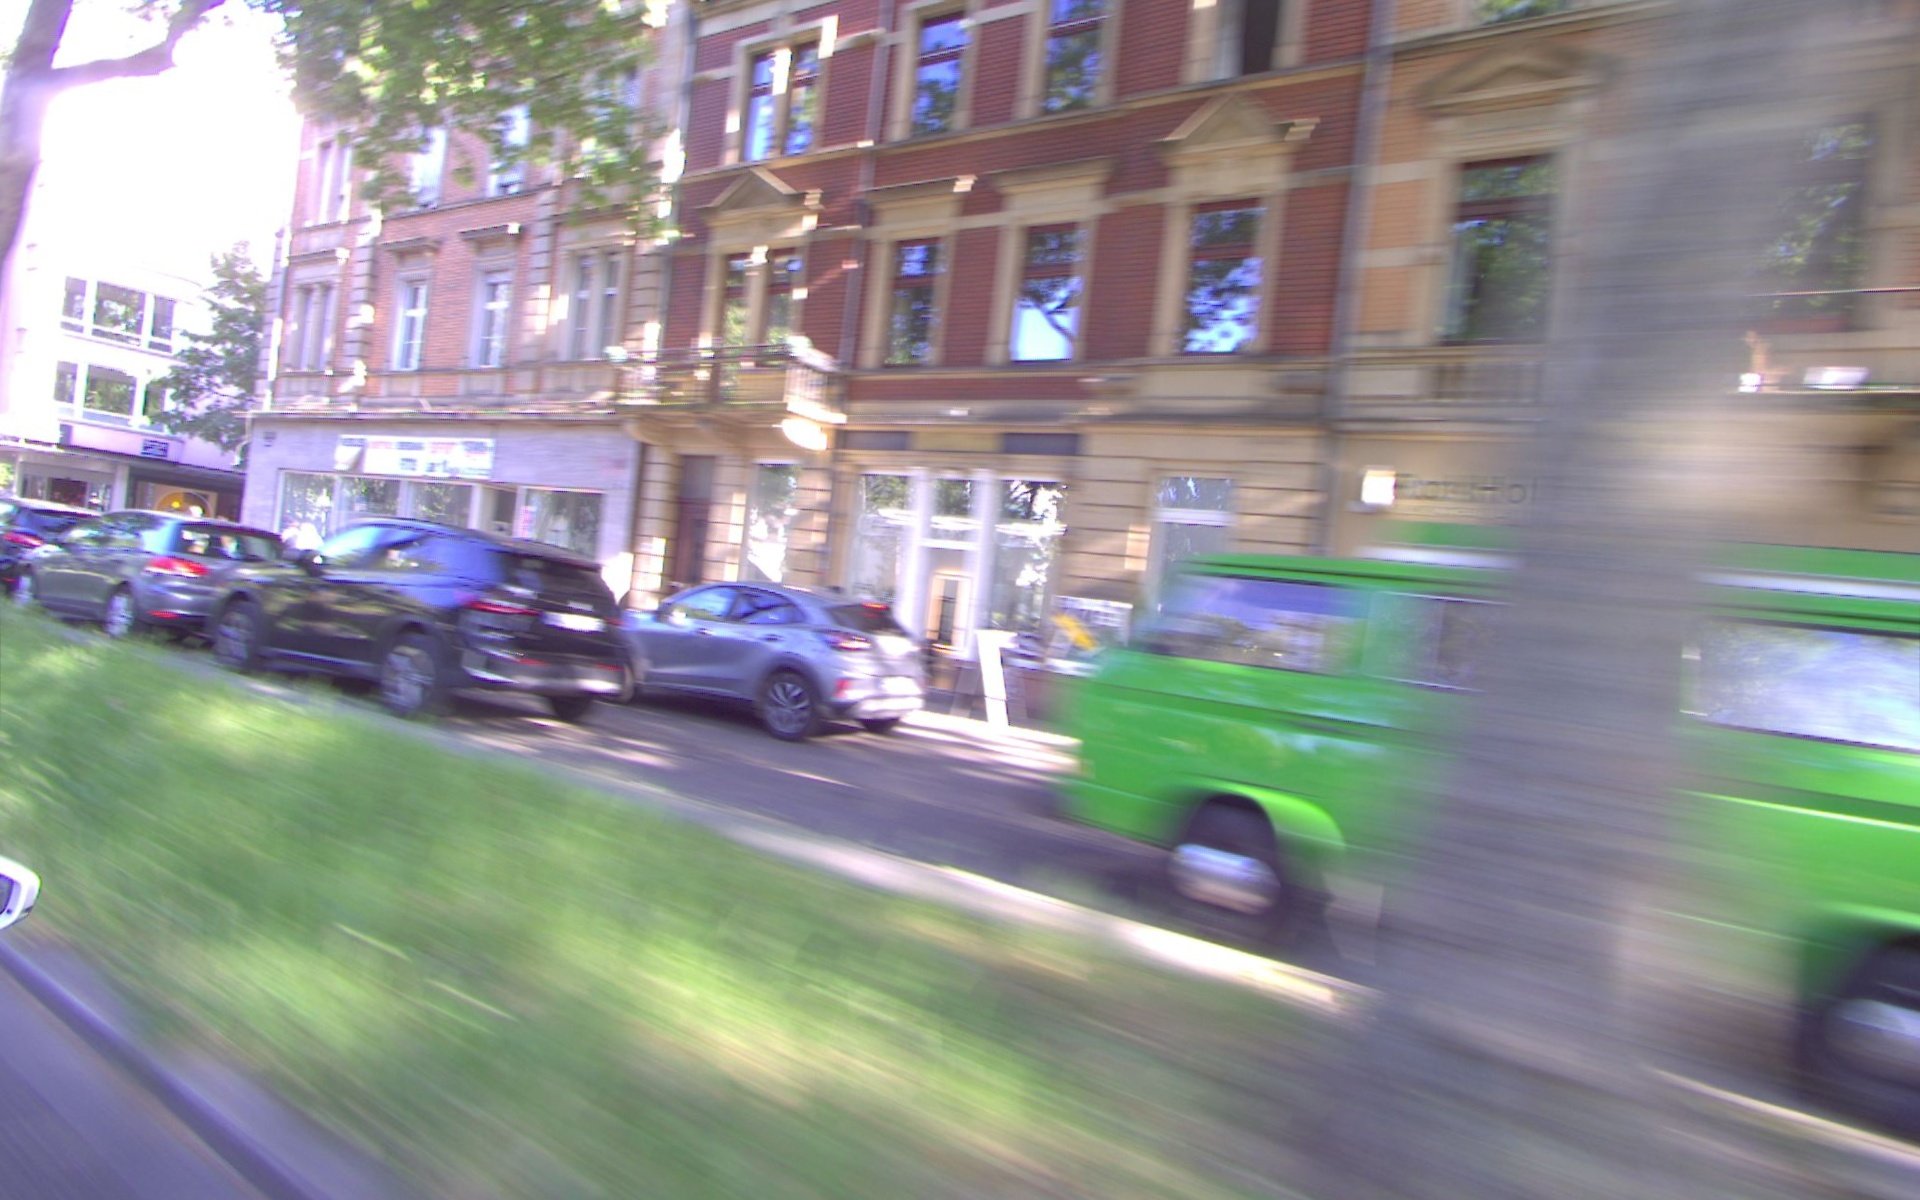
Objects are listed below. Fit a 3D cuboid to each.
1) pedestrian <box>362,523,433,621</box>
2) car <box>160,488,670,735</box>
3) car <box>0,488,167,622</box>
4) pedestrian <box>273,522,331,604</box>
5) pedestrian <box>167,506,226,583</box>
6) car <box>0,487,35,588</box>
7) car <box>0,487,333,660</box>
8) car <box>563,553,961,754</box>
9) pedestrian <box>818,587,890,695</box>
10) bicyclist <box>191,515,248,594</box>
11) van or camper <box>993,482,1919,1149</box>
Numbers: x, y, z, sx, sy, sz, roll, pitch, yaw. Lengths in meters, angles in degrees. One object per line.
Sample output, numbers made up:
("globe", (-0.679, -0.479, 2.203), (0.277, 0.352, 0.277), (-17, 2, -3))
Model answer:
("pedestrian", (-11.145, -0.558, 19.928), (0.942, 1.809, 0.692), (6, 0, 32))
("car", (-5.253, 0.064, 9.549), (4.719, 1.665, 1.897), (6, -4, 30))
("car", (-13.582, -0.748, 14.591), (4.114, 1.512, 1.759), (6, -4, 31))
("pedestrian", (-14.813, -0.828, 22.648), (0.740, 1.705, 0.692), (6, 0, 32))
("pedestrian", (-19.129, -1.391, 25.197), (1.062, 1.776, 0.692), (7, 0, 32))
("car", (-17.736, -1.299, 17.055), (4.114, 1.589, 1.759), (6, -4, 31))
("car", (-9.681, -0.344, 12.055), (4.291, 1.480, 1.742), (6, -4, 30))
("car", (-2.261, 0.508, 11.198), (4.114, 1.598, 1.756), (6, 0, 31))
("pedestrian", (-1.624, 0.631, 15.458), (0.682, 1.565, 0.649), (6, 0, 30))
("bicyclist", (-16.283, -0.993, 22.121), (0.687, 1.634, 0.659), (6, 0, 32))
("van or camper", (2.770, 0.785, 4.773), (4.693, 2.120, 1.839), (6, -3, 30))
